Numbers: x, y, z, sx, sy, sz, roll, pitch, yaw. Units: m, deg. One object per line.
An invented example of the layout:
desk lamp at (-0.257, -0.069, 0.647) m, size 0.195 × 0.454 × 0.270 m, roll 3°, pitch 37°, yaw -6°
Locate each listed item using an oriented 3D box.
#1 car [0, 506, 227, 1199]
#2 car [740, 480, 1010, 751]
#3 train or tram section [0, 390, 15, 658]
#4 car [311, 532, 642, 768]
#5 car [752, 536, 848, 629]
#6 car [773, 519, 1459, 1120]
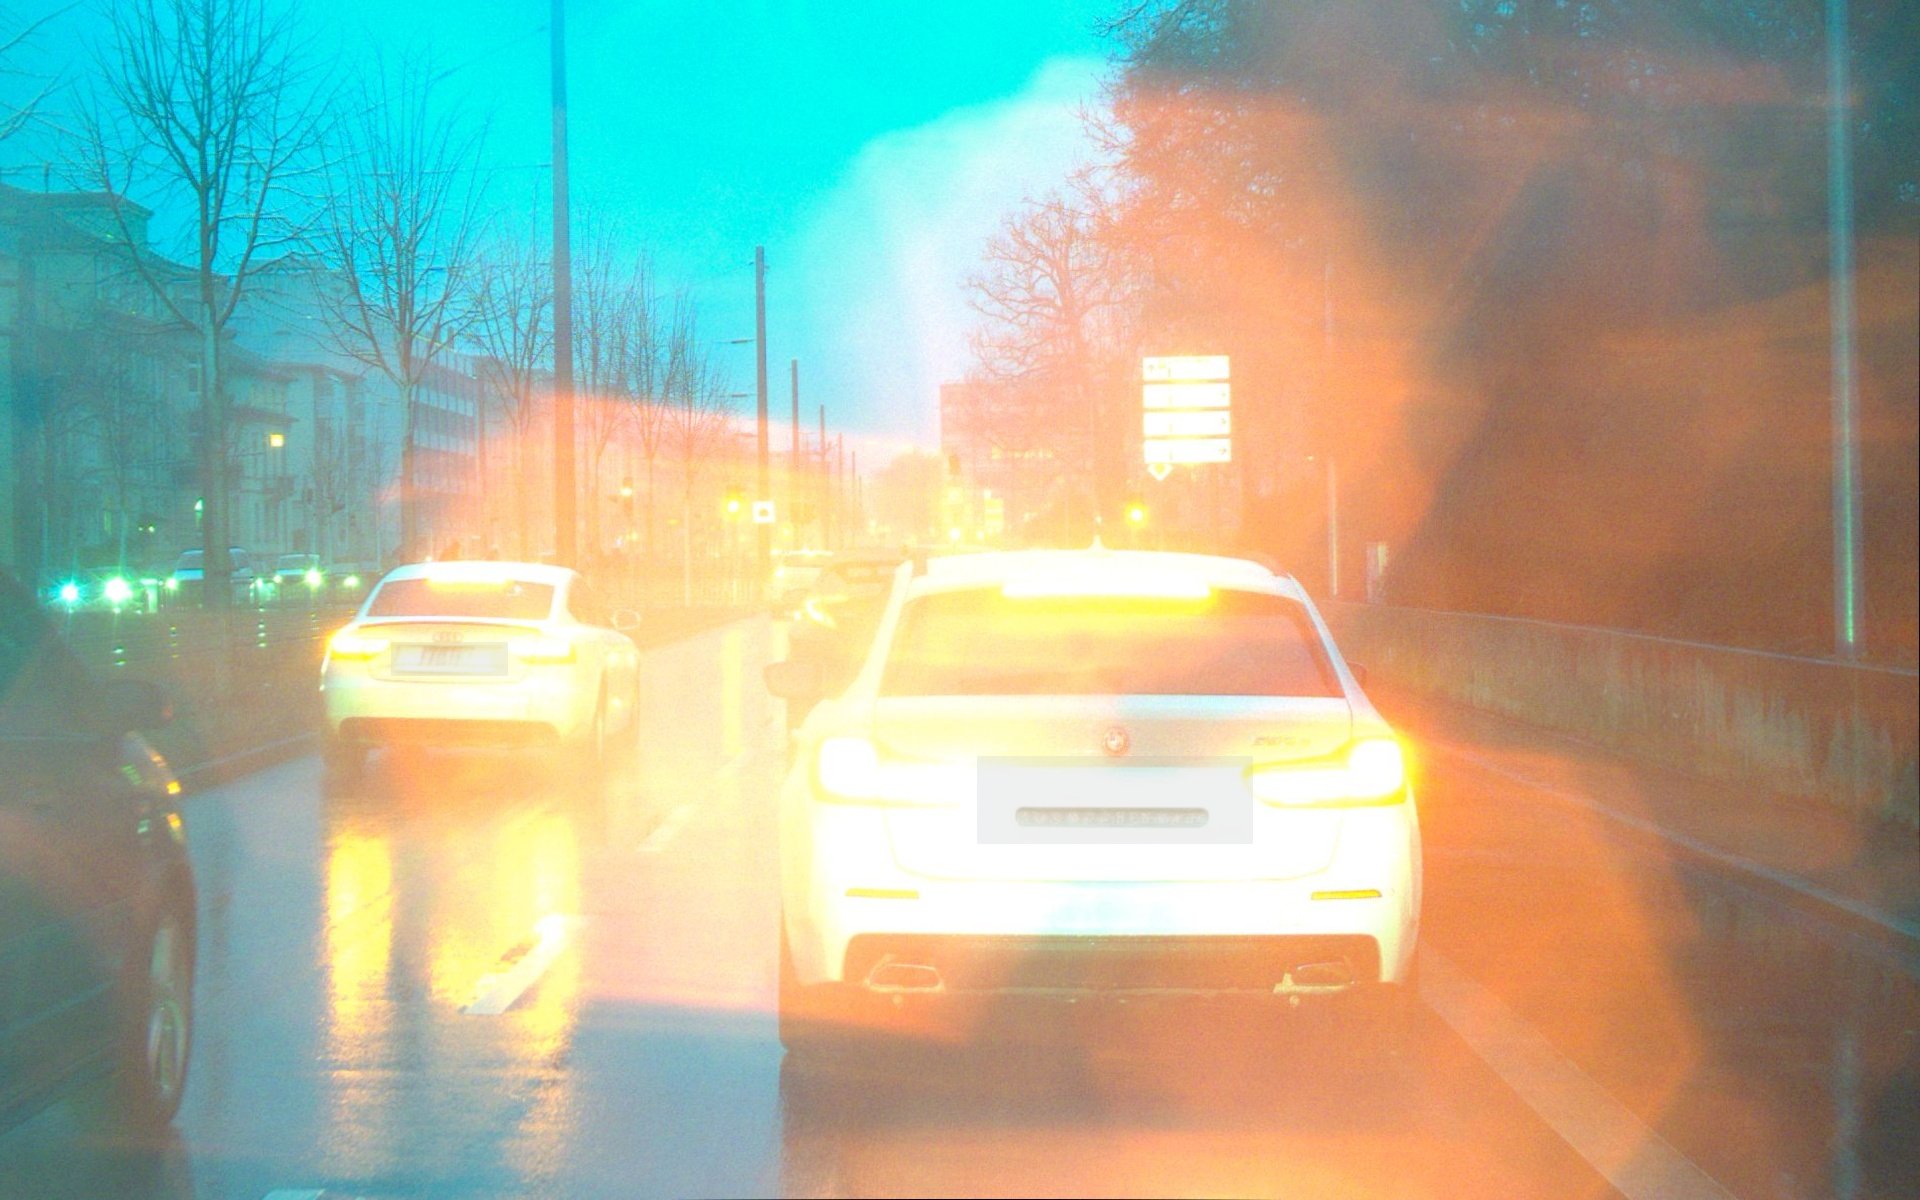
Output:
car at (-2.805, 0.595, 7.107) m, size 1.759 × 1.588 × 4.000 m, roll 1°, pitch 1°, yaw -1°
car at (-0.659, 0.092, 27.686) m, size 1.993 × 2.007 × 4.000 m, roll 1°, pitch 1°, yaw -1°
train or tram section at (-13.844, -0.906, 40.618) m, size 2.842 × 3.492 × 9.158 m, roll -2°, pitch 1°, yaw -1°
car at (-3.223, 0.289, 23.636) m, size 1.759 × 1.464 × 4.252 m, roll 1°, pitch 1°, yaw -1°
car at (-3.581, -0.407, 77.528) m, size 1.993 × 2.007 × 4.000 m, roll 1°, pitch 1°, yaw -1°
car at (0.293, 0.547, 11.025) m, size 1.759 × 1.547 × 4.252 m, roll 1°, pitch 1°, yaw -3°
